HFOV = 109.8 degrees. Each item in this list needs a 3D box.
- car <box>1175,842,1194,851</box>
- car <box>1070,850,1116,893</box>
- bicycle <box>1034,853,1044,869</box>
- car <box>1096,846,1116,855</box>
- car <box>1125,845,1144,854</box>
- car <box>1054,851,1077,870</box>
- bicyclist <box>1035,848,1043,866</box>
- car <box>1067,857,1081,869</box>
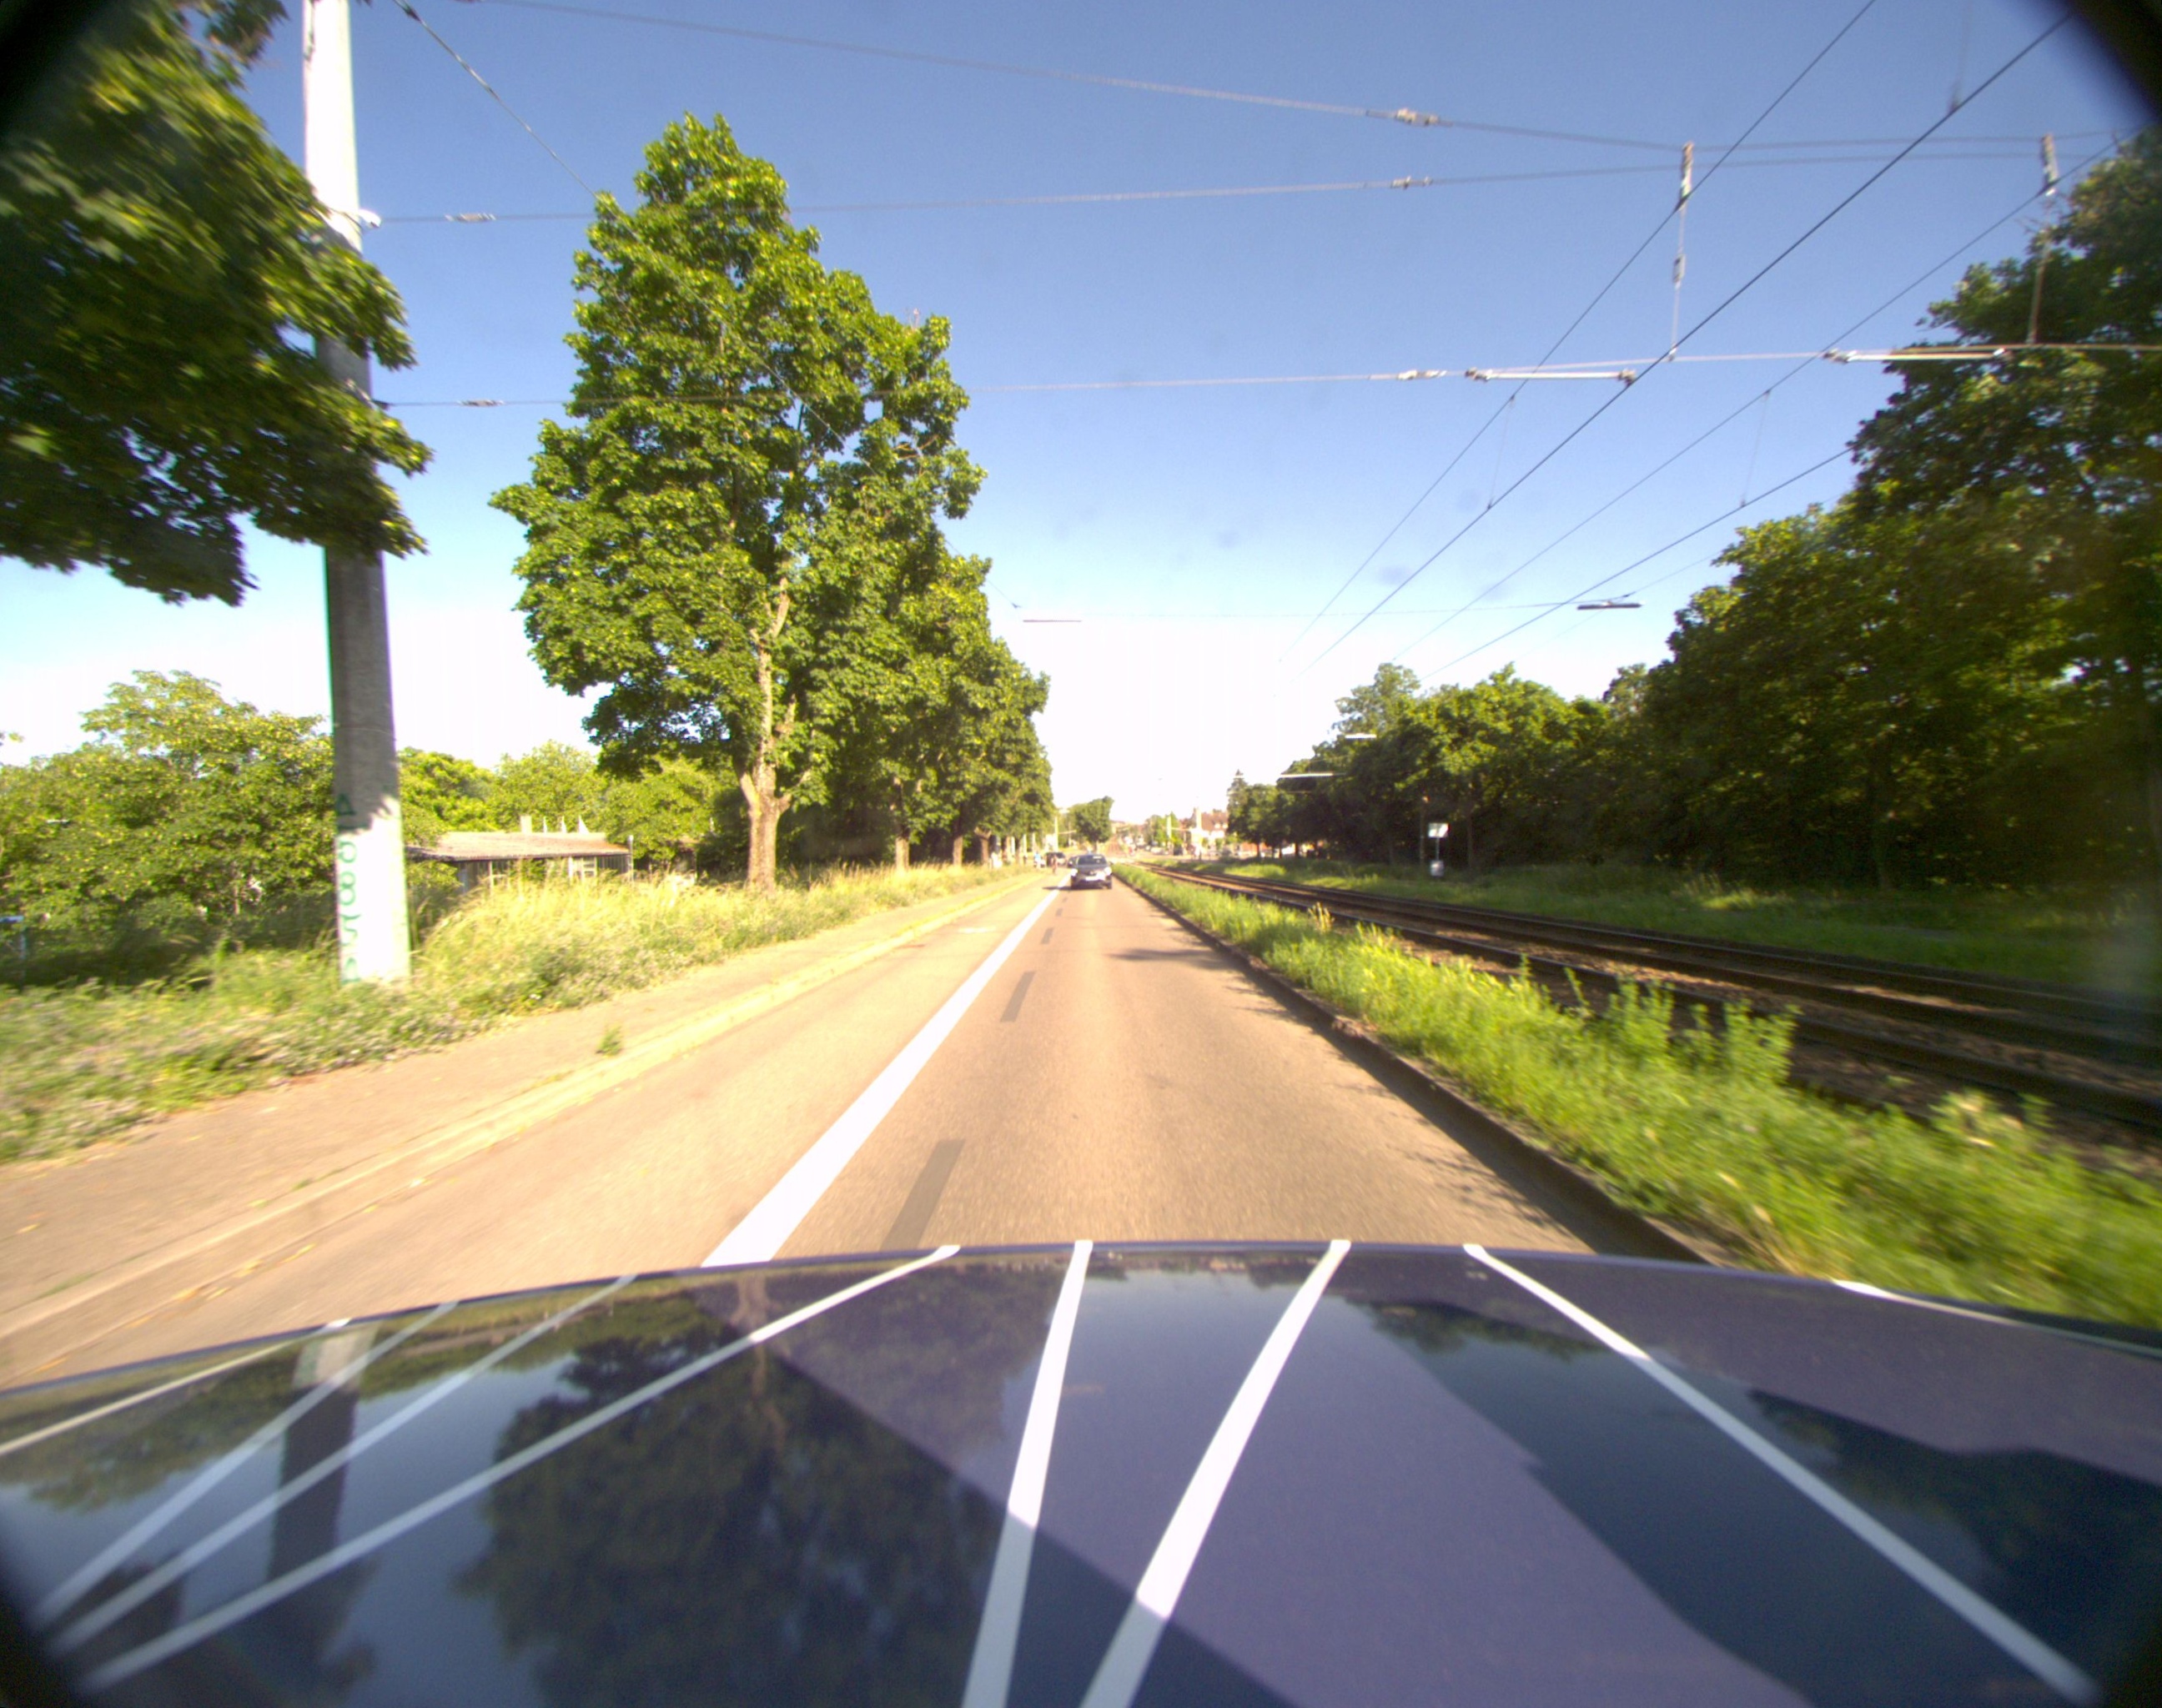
[{"bbox_3d":[24.959,-1.729,182.535,4.003,1.936,1.968,-3,1,-19],"label":"car"},{"bbox_3d":[0.544,0.711,33.176,1.814,1.625,4.709,-1,1,1],"label":"car"},{"bbox_3d":[-3.766,0.621,68.171,0.647,1.344,2.240,-3,1,1],"label":"bicycle"},{"bbox_3d":[5.816,-0.806,176.282,4.003,1.936,1.968,-3,1,-19],"label":"car"},{"bbox_3d":[12.650,-1.140,178.937,4.003,1.936,1.968,-3,1,-19],"label":"car"},{"bbox_3d":[-1.356,0.557,68.186,1.814,1.625,4.128,-3,1,1],"label":"car"},{"bbox_3d":[-3.783,0.303,68.182,0.655,1.575,0.698,-3,1,1],"label":"bicyclist"},{"bbox_3d":[-0.809,1.023,90.813,1.563,1.279,3.455,-3,1,1],"label":"car"}]
